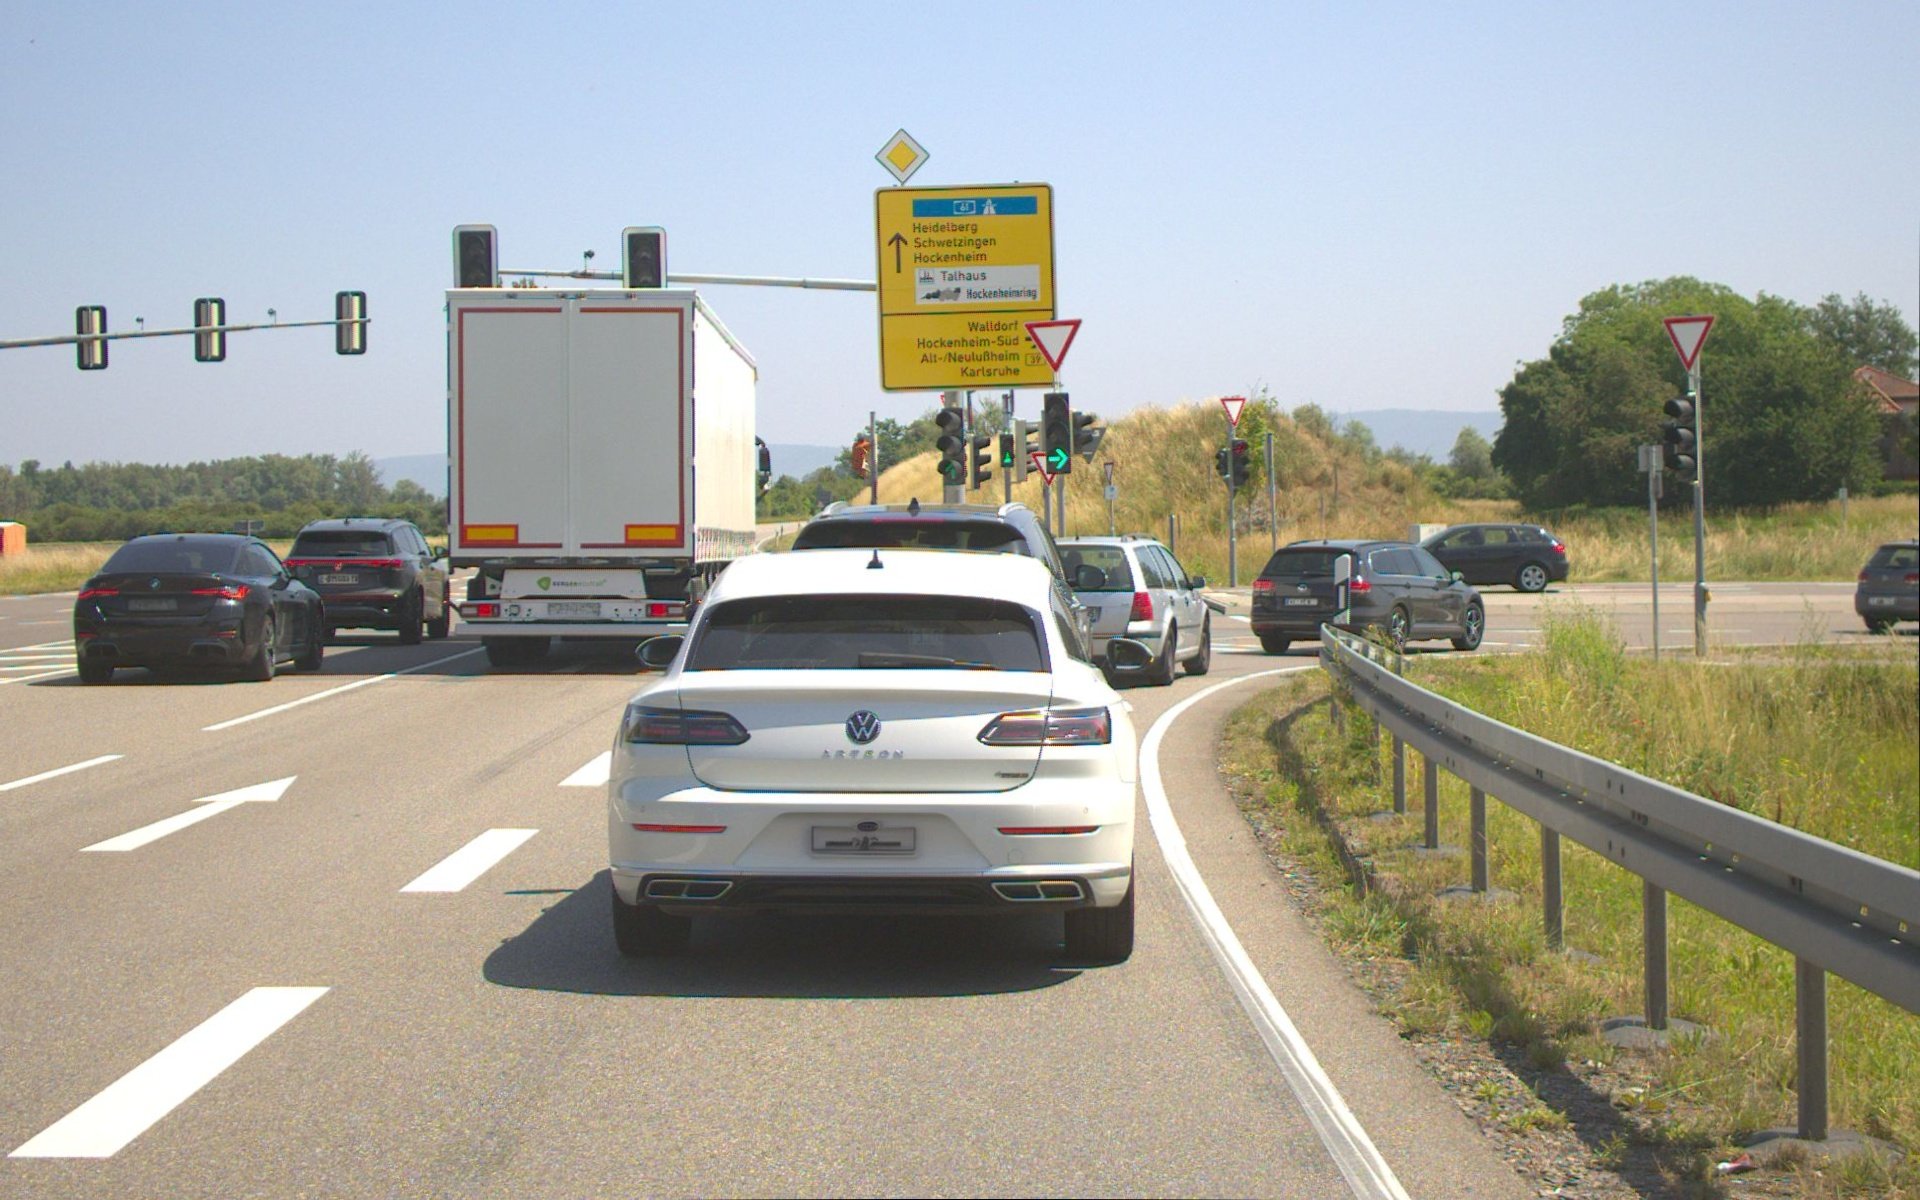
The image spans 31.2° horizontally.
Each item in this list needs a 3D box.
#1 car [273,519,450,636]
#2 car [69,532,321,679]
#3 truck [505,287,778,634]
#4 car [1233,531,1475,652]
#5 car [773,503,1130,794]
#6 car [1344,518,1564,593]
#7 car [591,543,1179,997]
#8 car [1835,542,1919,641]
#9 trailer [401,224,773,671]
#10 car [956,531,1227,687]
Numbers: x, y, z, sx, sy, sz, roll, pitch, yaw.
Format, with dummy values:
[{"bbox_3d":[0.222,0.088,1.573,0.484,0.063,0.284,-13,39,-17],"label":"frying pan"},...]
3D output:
[{"bbox_3d":[-7.924,-0.321,45.808,1.809,1.488,4.022,0,1,-3],"label":"car"},{"bbox_3d":[-7.682,0.017,34.849,1.809,1.393,4.022,0,1,-3],"label":"car"},{"bbox_3d":[-4.353,-1.896,48.334,3.381,4.527,6.373,0,1,-1],"label":"truck"},{"bbox_3d":[5.132,-0.140,44.283,1.802,1.471,4.409,1,1,25],"label":"car"},{"bbox_3d":[0.055,0.232,21.324,1.935,1.611,4.378,0,1,4],"label":"car"},{"bbox_3d":[10.061,-0.915,70.246,4.260,1.364,1.776,-1,2,3],"label":"car"},{"bbox_3d":[-0.263,0.500,13.136,1.848,1.428,4.608,0,1,-1],"label":"car"},{"bbox_3d":[15.938,-0.154,54.493,3.870,1.516,1.806,0,1,-31],"label":"car"},{"bbox_3d":[-4.162,-1.686,41.539,3.381,4.527,12.873,0,1,-1],"label":"trailer"},{"bbox_3d":[1.355,0.051,33.572,1.801,1.424,4.090,0,1,15],"label":"car"}]
